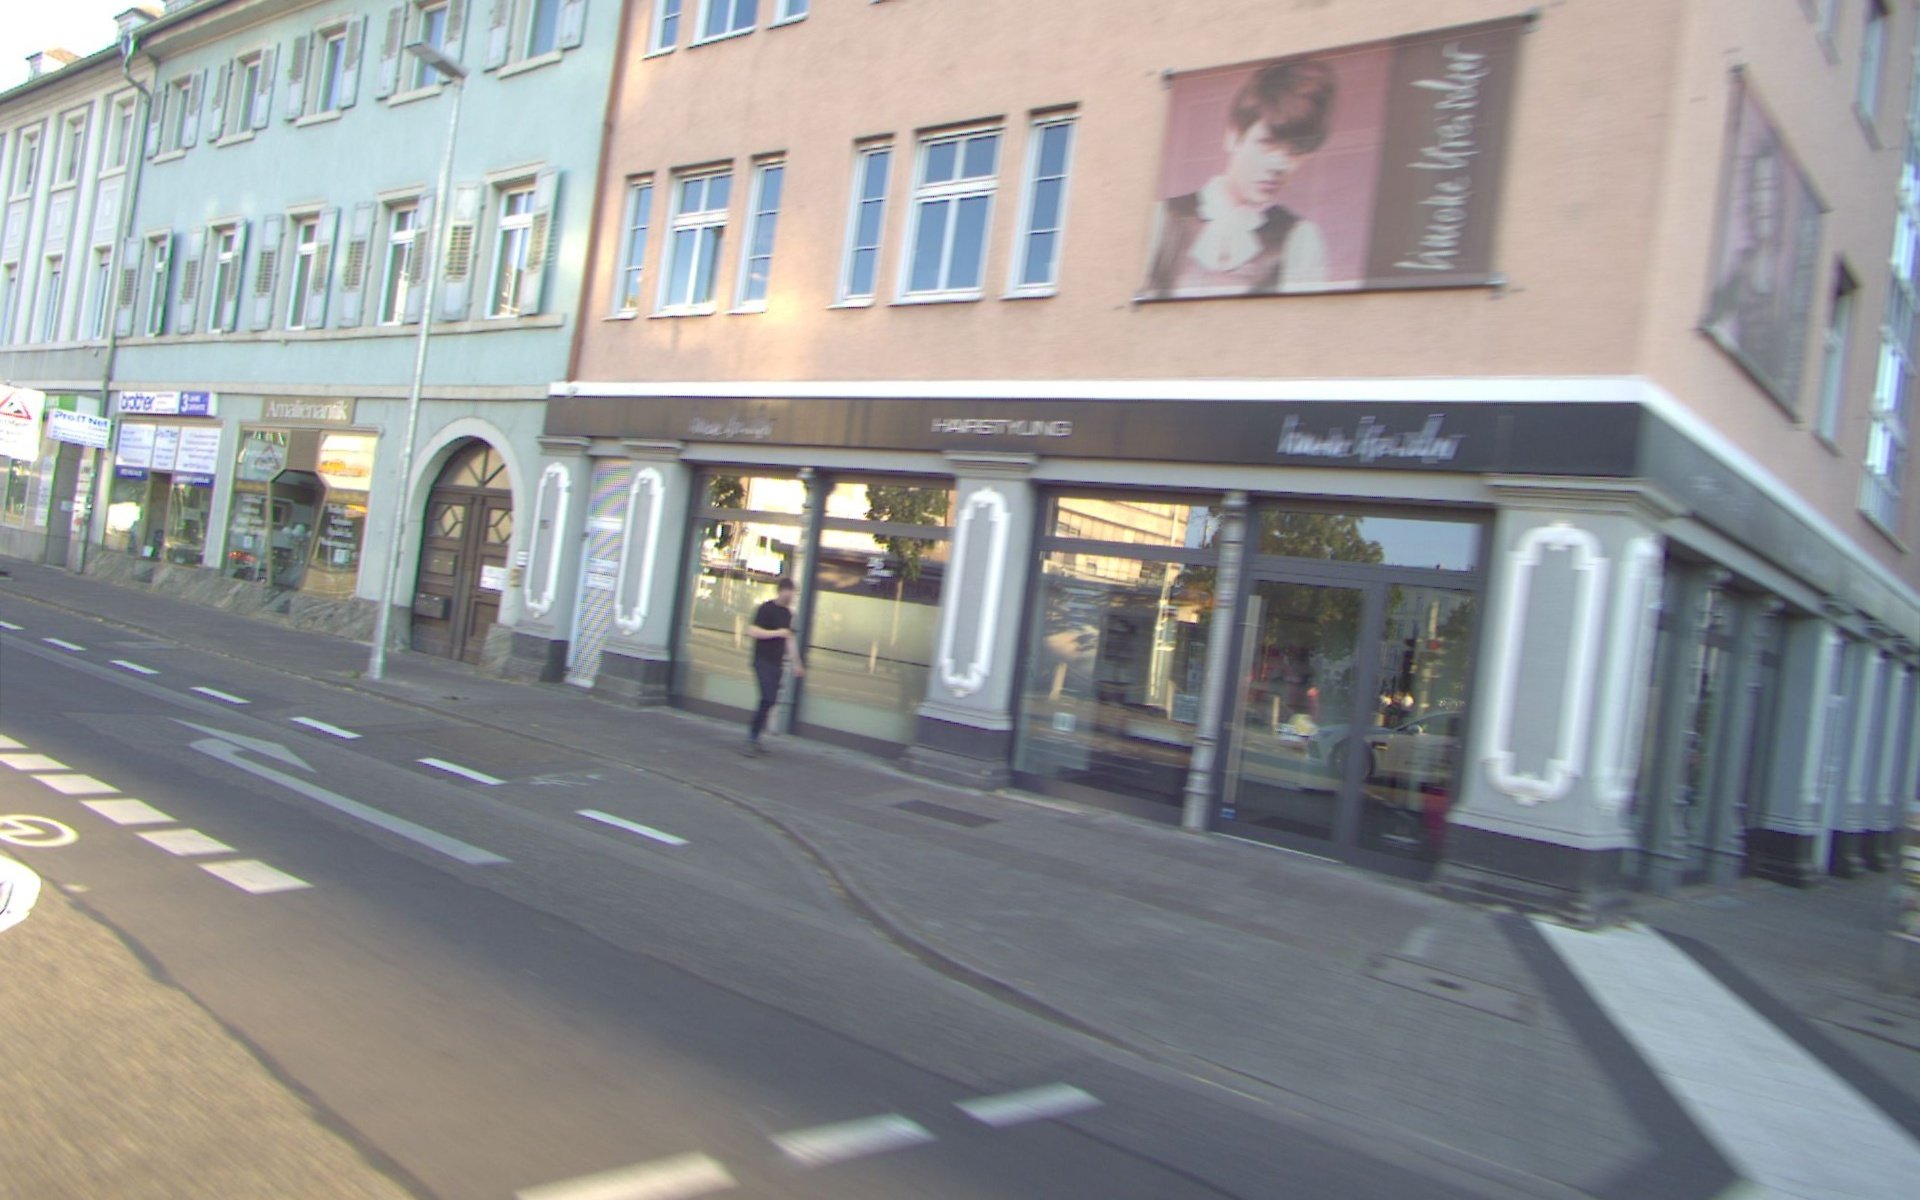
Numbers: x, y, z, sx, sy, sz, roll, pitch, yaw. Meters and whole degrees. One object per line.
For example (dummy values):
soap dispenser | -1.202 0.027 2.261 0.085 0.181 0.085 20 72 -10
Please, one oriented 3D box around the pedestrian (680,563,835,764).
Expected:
pedestrian | -1.997 0.625 9.984 1.030 1.797 0.759 8 -1 27

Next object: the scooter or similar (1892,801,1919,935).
scooter or similar | 9.405 2.576 9.601 0.516 1.177 1.318 7 -2 38
